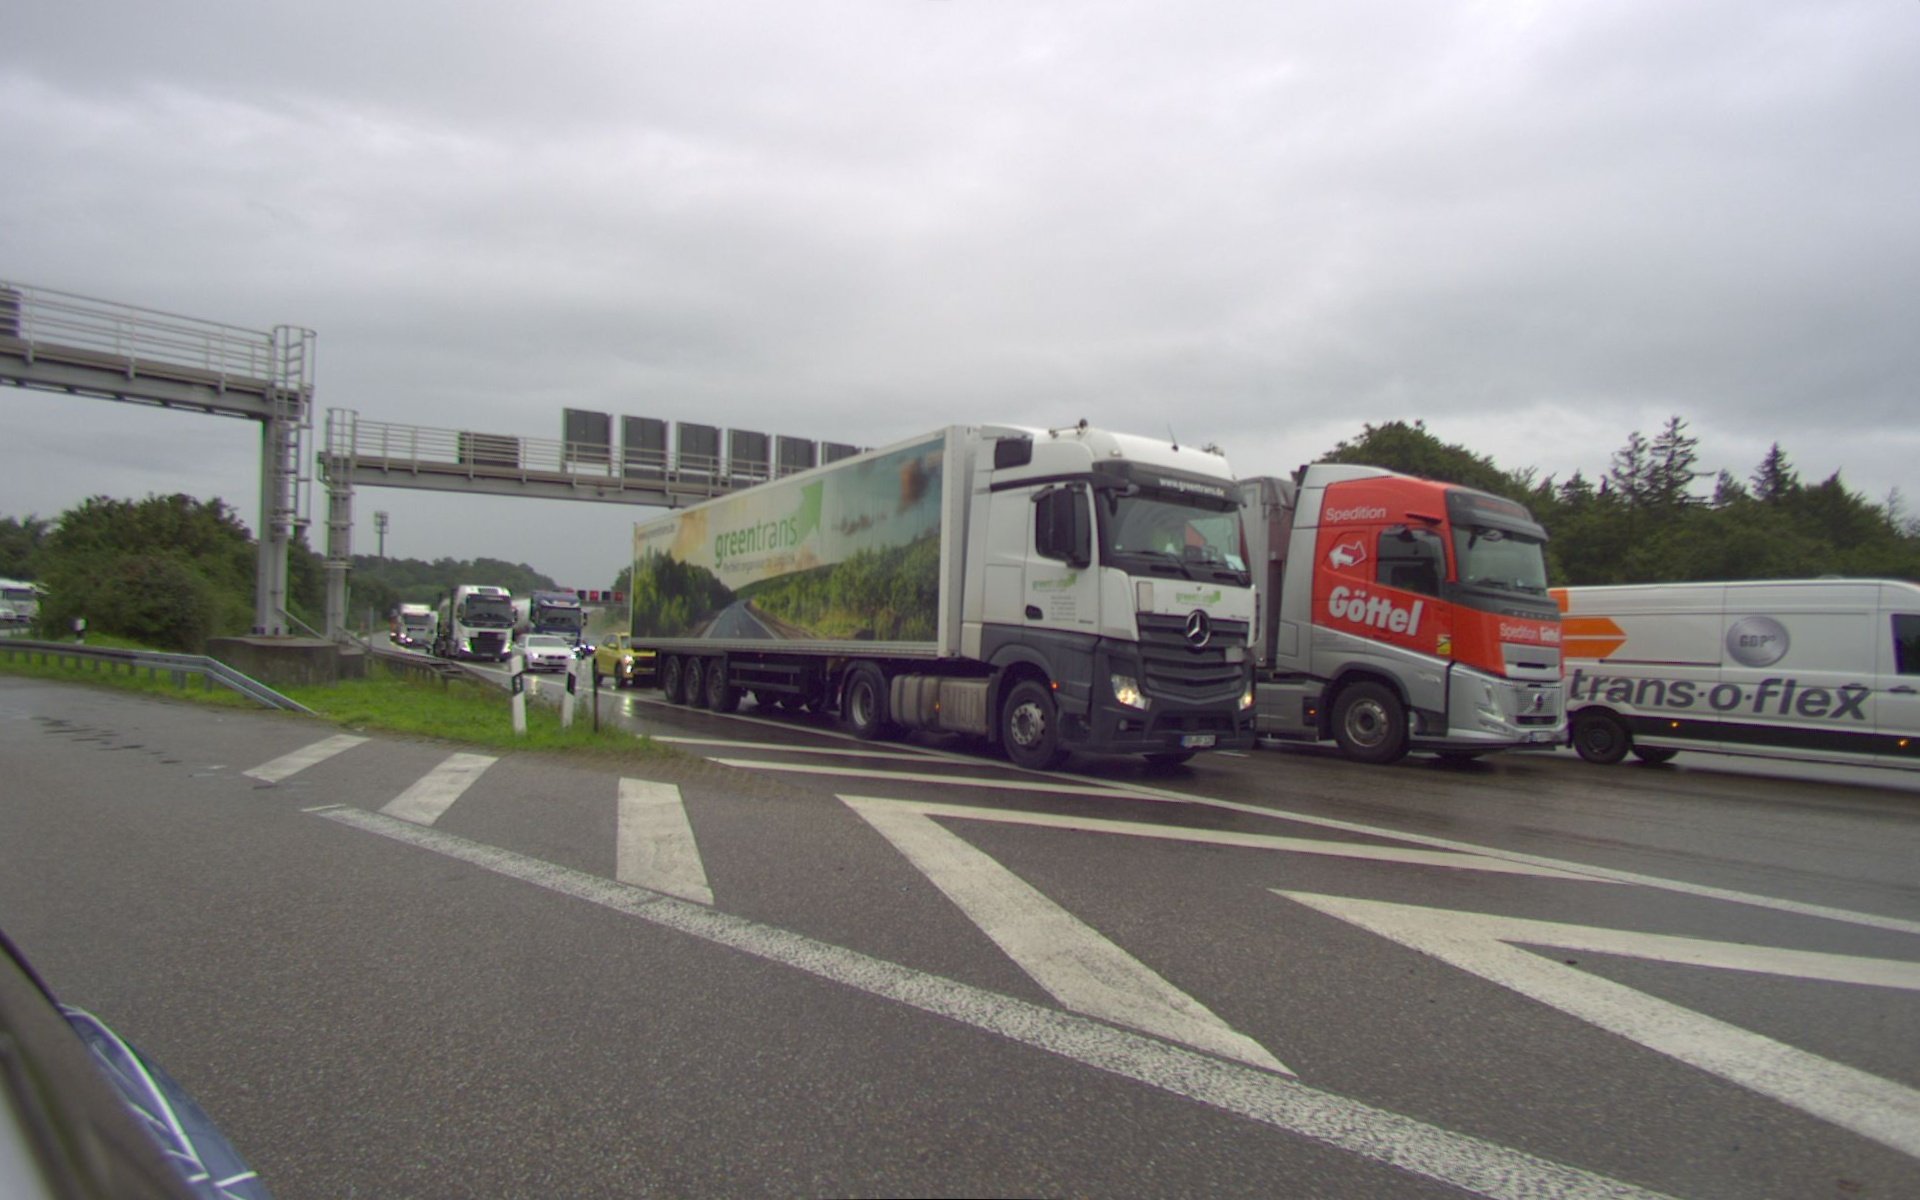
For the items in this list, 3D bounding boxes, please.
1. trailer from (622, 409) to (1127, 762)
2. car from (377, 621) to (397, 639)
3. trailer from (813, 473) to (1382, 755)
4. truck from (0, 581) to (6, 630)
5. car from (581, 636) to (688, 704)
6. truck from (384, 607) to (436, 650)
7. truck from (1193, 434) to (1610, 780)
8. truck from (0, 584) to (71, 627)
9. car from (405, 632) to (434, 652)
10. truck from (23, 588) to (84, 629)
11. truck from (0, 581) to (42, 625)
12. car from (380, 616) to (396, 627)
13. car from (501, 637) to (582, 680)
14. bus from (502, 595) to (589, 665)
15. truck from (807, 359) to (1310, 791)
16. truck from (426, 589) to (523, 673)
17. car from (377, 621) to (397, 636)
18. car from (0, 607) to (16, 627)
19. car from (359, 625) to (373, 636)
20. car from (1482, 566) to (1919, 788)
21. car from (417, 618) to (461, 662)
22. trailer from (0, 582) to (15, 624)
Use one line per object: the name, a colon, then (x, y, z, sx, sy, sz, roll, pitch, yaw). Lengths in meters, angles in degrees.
trailer: (-2.765, 0.007, 18.607, 2.879, 4.237, 13.671, 3, -3, -34)
car: (-70.685, 3.752, 124.827, 1.966, 2.178, 4.456, 2, -3, -32)
trailer: (1.425, 0.431, 20.305, 2.592, 3.894, 13.708, 3, -4, -35)
truck: (-79.515, 0.301, 79.744, 6.483, 3.949, 2.890, 2, -2, 10)
car: (-9.665, 1.995, 29.852, 1.770, 1.807, 4.250, 3, -3, -35)
truck: (-53.127, 2.655, 97.571, 3.480, 3.876, 9.461, -1, 0, -34)
truck: (5.888, 0.189, 14.022, 2.592, 3.894, 4.599, 3, -4, -35)
truck: (-98.150, 0.601, 107.002, 5.749, 4.420, 3.236, 1, -2, 10)
car: (-46.142, 3.557, 86.365, 1.789, 1.697, 4.011, 1, -2, -34)
truck: (-100.416, 0.928, 112.134, 4.577, 4.420, 2.599, 1, -1, 10)
truck: (-94.630, 0.245, 98.697, 7.851, 4.122, 3.236, 2, -2, 10)
car: (-86.684, 3.275, 153.414, 1.789, 1.770, 4.699, 1, -2, -33)
car: (-16.380, 2.259, 39.434, 1.901, 1.534, 4.774, 3, -3, -35)
bus: (-24.944, 1.651, 60.474, 2.855, 3.796, 10.459, -1, 0, -33)
truck: (0.816, -0.128, 13.273, 2.879, 4.130, 6.736, 3, -3, -34)
truck: (-27.276, 1.556, 56.382, 3.301, 4.101, 12.608, -1, 0, -33)
car: (-66.765, 3.312, 117.878, 1.789, 1.770, 4.699, 1, -2, -32)
car: (-90.520, 1.534, 94.254, 3.959, 1.872, 1.841, 1, -2, 12)
car: (-102.272, 5.237, 174.152, 1.789, 1.770, 4.699, 2, -3, -33)
car: (10.970, 0.942, 13.073, 2.119, 2.507, 7.383, 3, -3, -35)
car: (-35.121, 2.627, 68.139, 2.329, 2.663, 6.918, -1, 0, -30)
trailer: (-100.507, 0.097, 99.737, 13.384, 4.122, 3.236, 2, -2, 10)
